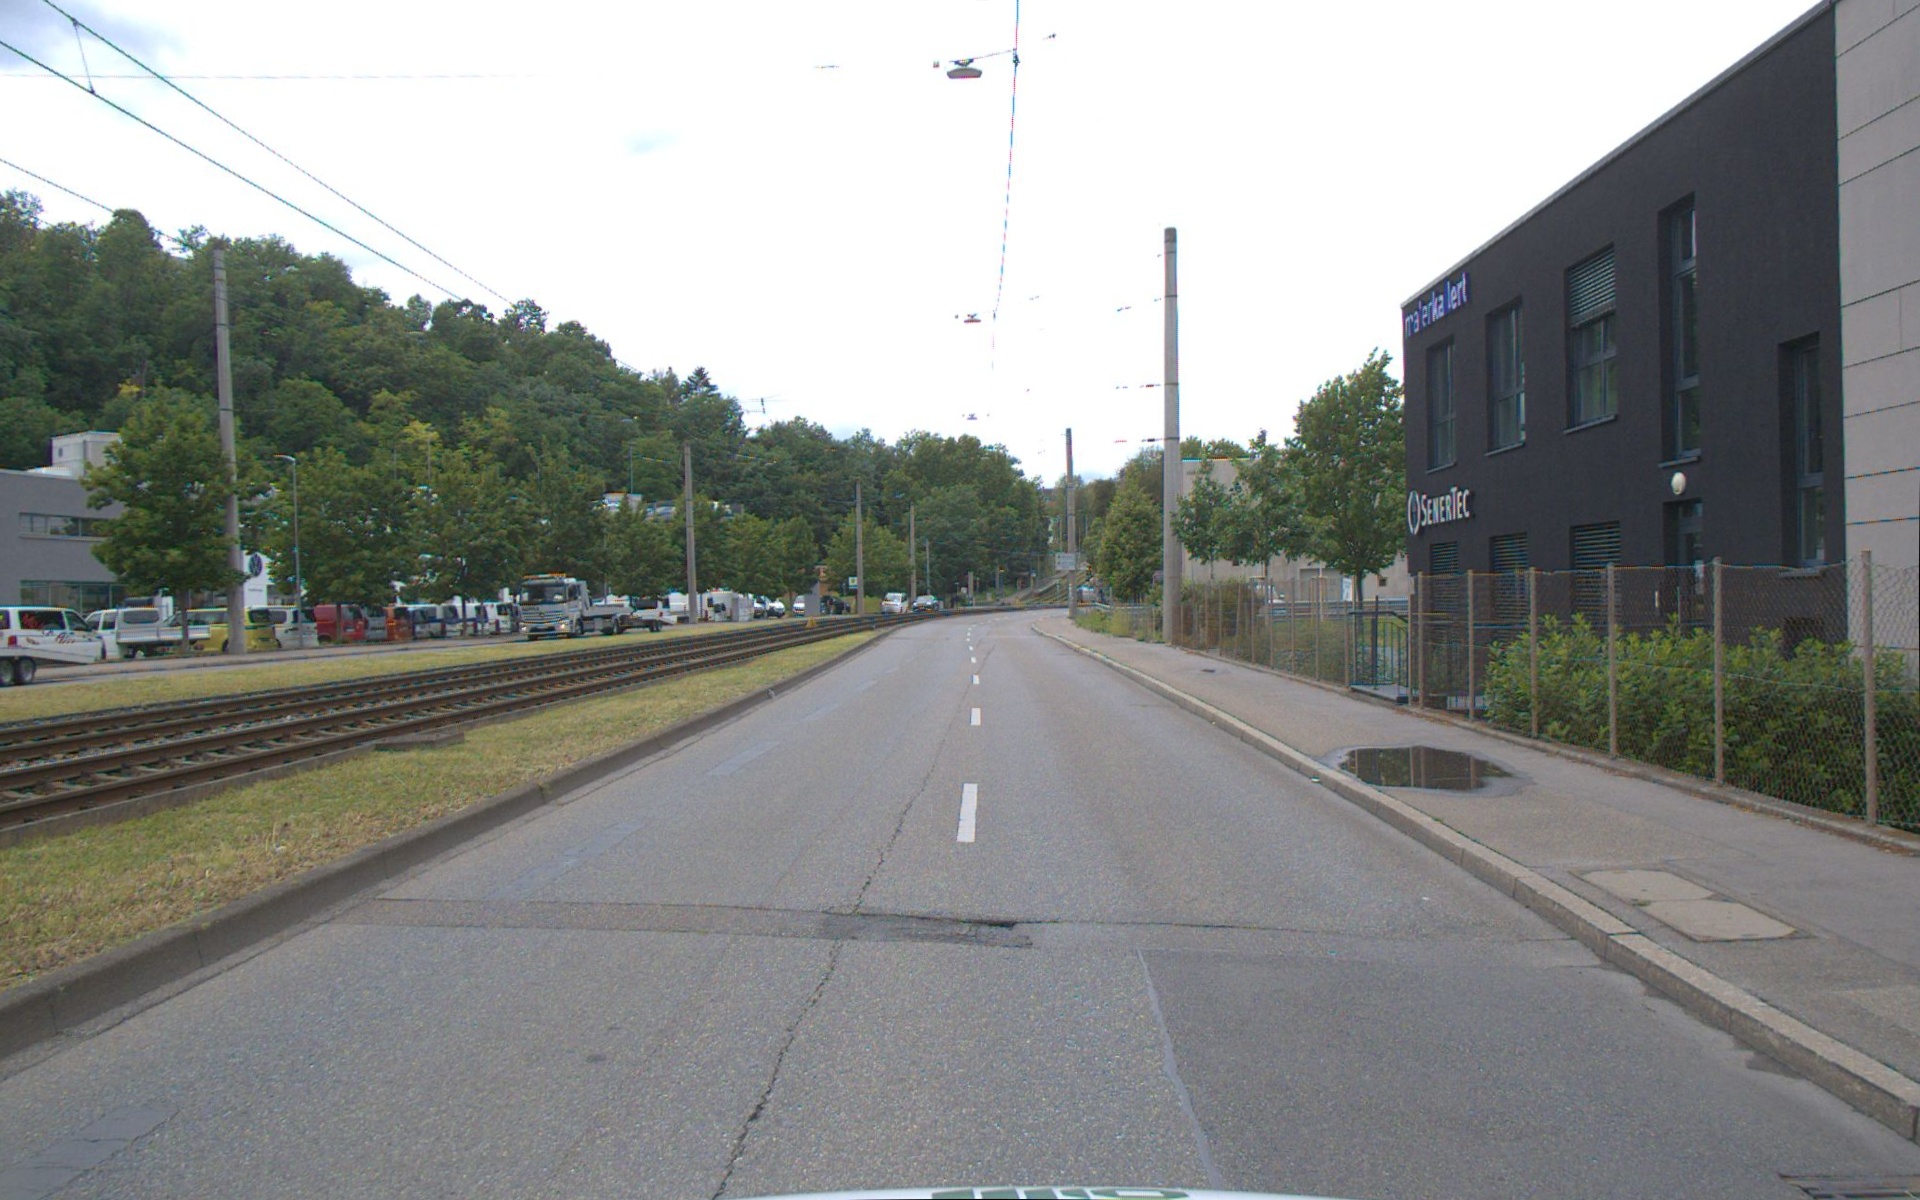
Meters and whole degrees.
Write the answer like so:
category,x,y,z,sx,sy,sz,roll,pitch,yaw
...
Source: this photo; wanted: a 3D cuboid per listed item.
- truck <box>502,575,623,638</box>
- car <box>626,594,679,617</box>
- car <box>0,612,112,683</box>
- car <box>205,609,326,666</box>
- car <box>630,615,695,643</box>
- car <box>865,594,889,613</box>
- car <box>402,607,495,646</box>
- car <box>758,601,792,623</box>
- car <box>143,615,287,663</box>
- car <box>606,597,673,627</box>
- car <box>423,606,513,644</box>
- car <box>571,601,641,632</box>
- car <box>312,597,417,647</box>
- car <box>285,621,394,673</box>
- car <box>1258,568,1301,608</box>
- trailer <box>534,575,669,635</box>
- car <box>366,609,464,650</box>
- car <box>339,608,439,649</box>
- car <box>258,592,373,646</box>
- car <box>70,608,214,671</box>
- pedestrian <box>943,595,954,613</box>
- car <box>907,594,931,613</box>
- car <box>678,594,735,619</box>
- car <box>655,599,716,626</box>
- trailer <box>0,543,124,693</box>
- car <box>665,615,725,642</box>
category,x,y,z,sx,sy,sz,roll,pitch,yaw
truck,-17.513,0.255,73.364,2.821,2.634,6.917,-1,0,8
car,-25.087,0.459,135.022,4.051,1.736,1.830,-1,-4,-7
car,-27.772,1.478,49.746,1.952,1.932,4.611,-1,-4,3
car,-27.361,1.492,65.222,3.903,2.049,2.000,-1,-4,4
car,-20.251,1.957,112.580,3.902,1.735,1.835,-2,1,7
car,-7.872,0.321,156.335,1.952,1.668,4.001,-1,0,1
car,-24.986,1.277,80.821,3.902,1.735,1.835,-2,0,7
car,-16.556,1.102,148.235,1.789,1.736,4.145,-2,-4,12
car,-27.990,1.485,62.243,4.499,1.602,2.000,-1,-4,3
car,-20.803,0.761,107.344,3.902,1.736,1.835,-2,-4,7
car,-24.767,1.255,83.330,3.902,1.735,1.835,-2,1,7
car,-22.184,1.072,103.682,3.902,1.736,1.835,-2,-4,7
car,-26.485,1.003,73.610,3.903,2.049,2.000,-1,-4,4
car,-26.668,2.044,71.212,3.903,2.049,2.000,-1,-4,4
car,14.405,-0.539,74.751,1.789,1.735,3.809,-2,0,10
trailer,-16.788,0.208,78.283,2.830,2.628,10.003,-1,0,9
car,-25.710,1.373,78.089,3.902,1.735,1.835,-2,1,7
car,-26.184,1.291,75.888,3.902,1.736,1.835,-2,-1,8
car,-26.626,0.812,68.402,3.903,2.049,2.000,-1,-4,4
car,-27.953,1.388,56.528,4.502,1.932,1.999,-3,-4,24
pedestrian,-1.303,0.465,191.962,0.992,2.049,1.146,-2,-4,17
car,-3.748,0.339,150.693,1.952,1.668,4.001,-1,0,1
car,-19.239,0.497,125.418,3.902,1.736,1.835,-2,-4,7
car,-19.575,0.909,117.849,3.902,1.736,1.835,-2,-4,7
trailer,-20.967,0.395,32.884,2.832,3.034,10.794,-1,0,2
car,-19.299,2.086,120.466,3.902,1.736,1.835,-2,-4,7
